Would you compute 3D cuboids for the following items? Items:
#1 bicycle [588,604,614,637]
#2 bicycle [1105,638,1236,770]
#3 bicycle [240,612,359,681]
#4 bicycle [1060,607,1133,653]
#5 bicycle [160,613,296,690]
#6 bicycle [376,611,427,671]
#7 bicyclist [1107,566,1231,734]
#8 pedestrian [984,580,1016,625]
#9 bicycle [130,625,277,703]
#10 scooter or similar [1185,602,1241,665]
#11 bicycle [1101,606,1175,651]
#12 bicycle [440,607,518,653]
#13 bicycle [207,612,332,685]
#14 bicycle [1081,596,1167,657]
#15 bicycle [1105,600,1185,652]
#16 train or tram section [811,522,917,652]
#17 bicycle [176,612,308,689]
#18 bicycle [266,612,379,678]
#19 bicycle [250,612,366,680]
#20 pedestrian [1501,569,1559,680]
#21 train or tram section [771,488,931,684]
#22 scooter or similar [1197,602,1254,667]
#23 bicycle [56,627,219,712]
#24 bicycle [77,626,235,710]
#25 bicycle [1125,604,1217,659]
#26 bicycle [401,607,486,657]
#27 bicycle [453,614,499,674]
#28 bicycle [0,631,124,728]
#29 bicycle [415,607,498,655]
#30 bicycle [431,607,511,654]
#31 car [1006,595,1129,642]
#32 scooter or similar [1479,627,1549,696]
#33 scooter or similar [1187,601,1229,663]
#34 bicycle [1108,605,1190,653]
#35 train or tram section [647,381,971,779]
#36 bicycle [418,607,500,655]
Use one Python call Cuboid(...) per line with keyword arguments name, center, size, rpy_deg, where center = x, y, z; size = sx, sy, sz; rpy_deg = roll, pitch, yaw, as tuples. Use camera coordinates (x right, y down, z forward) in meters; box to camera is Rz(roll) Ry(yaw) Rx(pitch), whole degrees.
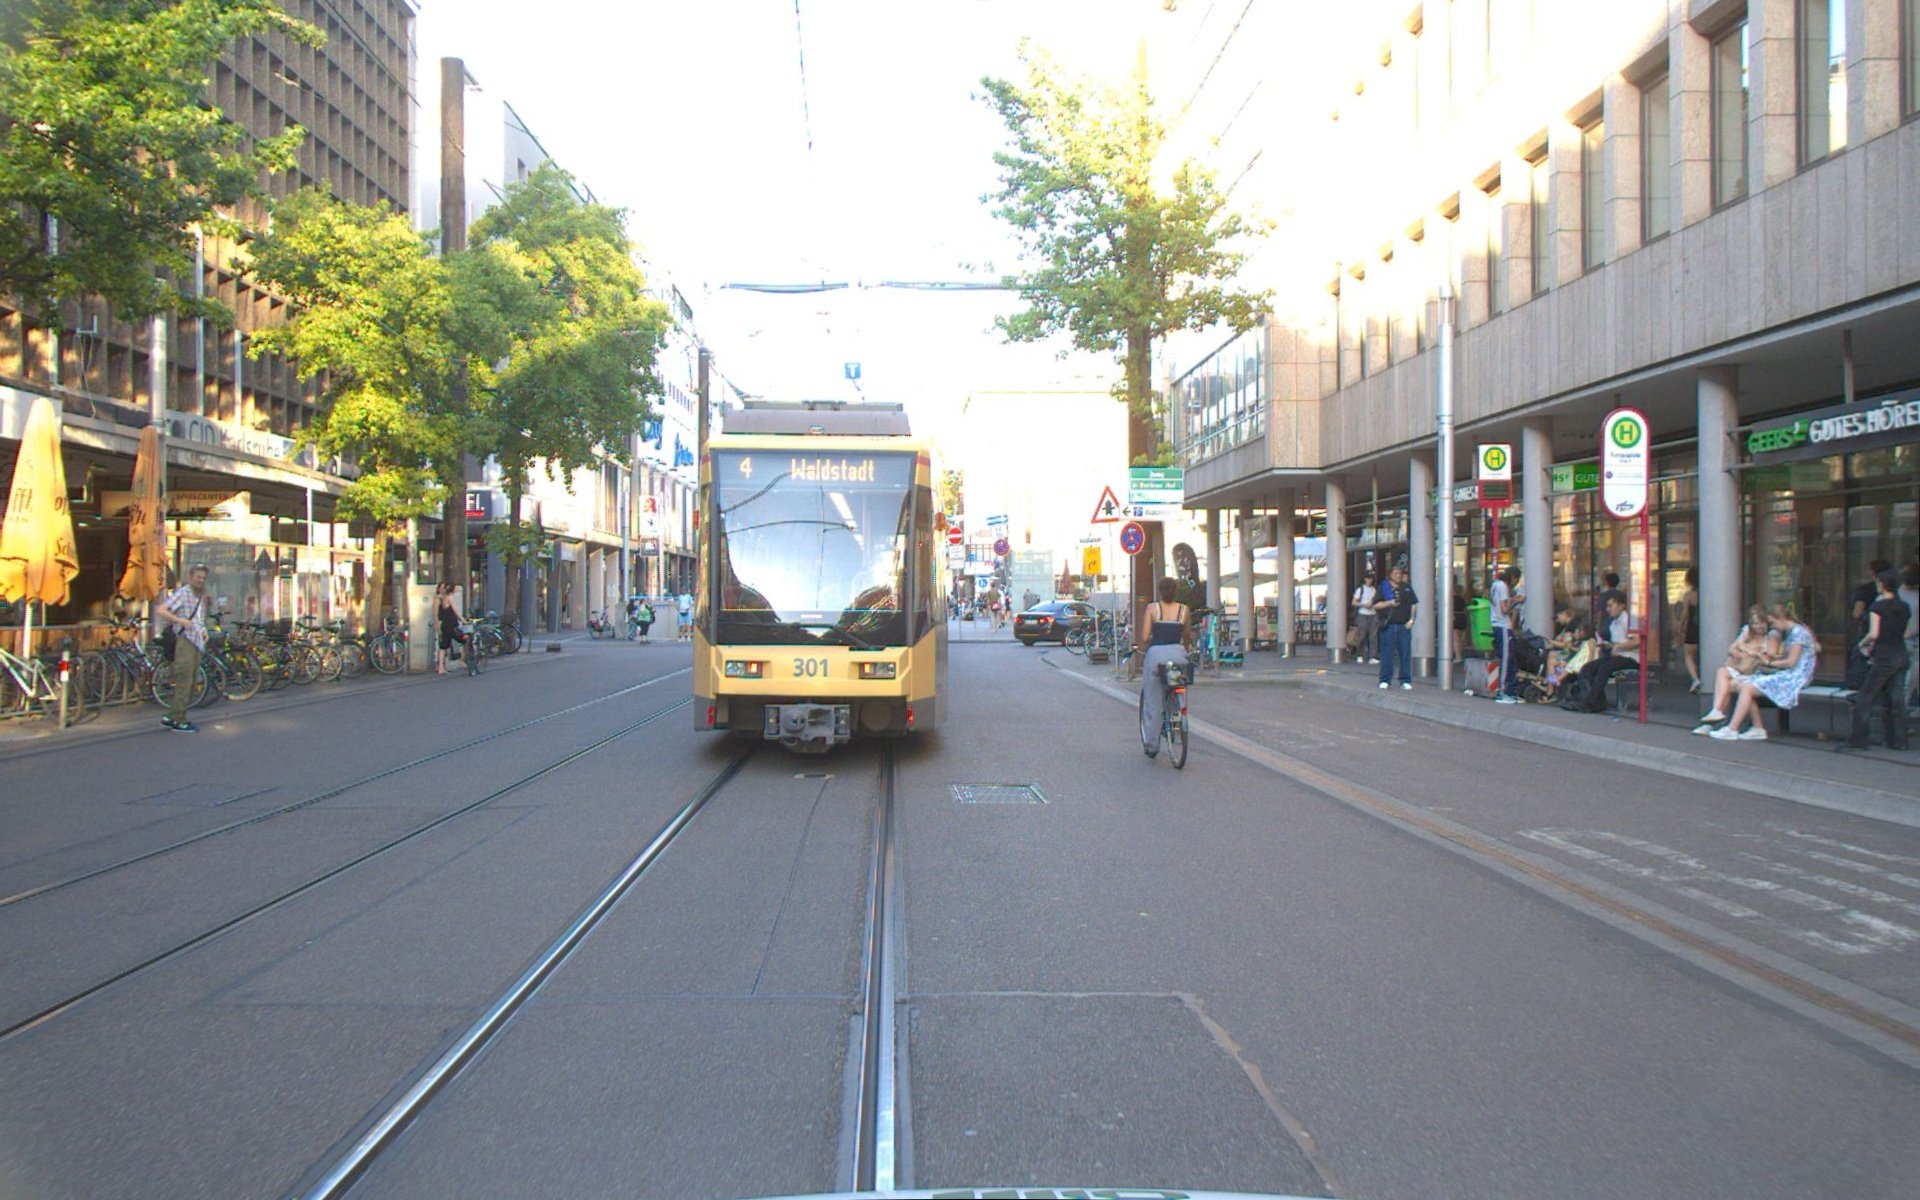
Cuboid(name="bicycle", center=(-13.330, 0.751, 61.446), size=(0.488, 1.127, 1.801), rpy_deg=(0, 1, 3))
Cuboid(name="bicycle", center=(1.952, 0.947, 15.683), size=(0.799, 1.092, 2.111), rpy_deg=(1, 0, -5))
Cuboid(name="bicycle", center=(-10.995, 0.772, 27.580), size=(1.738, 1.090, 0.488), rpy_deg=(2, 0, -8))
Cuboid(name="bicycle", center=(3.590, 0.782, 43.553), size=(1.816, 1.128, 0.666), rpy_deg=(-2, 0, -5))
Cuboid(name="bicycle", center=(-10.851, 0.762, 24.546), size=(1.738, 1.090, 0.488), rpy_deg=(2, 0, -8))
Cuboid(name="bicycle", center=(-10.488, 0.752, 31.095), size=(0.478, 1.063, 1.776), rpy_deg=(0, 1, -5))
Cuboid(name="bicyclist", center=(1.966, 0.464, 15.669), size=(0.977, 1.528, 0.856), rpy_deg=(1, 0, -5))
Cuboid(name="pedestrian", center=(1.717, 0.115, 70.784), size=(1.002, 1.896, 1.033), rpy_deg=(1, -1, -28))
Cuboid(name="bicycle", center=(-10.328, 0.873, 22.604), size=(1.738, 1.007, 0.489), rpy_deg=(1, 1, -8))
Cuboid(name="scooter or similar", center=(5.342, 0.691, 34.878), size=(1.176, 1.273, 0.389), rpy_deg=(-2, 1, -32))
Cuboid(name="bicycle", center=(4.702, 0.752, 43.738), size=(1.816, 1.128, 0.666), rpy_deg=(-2, 0, -5))
Cuboid(name="bicycle", center=(-11.707, 0.729, 40.260), size=(1.736, 1.063, 0.489), rpy_deg=(1, 0, -2))
Cuboid(name="bicycle", center=(-10.984, 0.767, 26.360), size=(1.738, 1.090, 0.488), rpy_deg=(2, 0, -8))
Cuboid(name="bicycle", center=(3.882, 0.625, 39.280), size=(1.879, 1.356, 0.724), rpy_deg=(-2, 0, -7))
Cuboid(name="bicycle", center=(4.709, 0.652, 42.149), size=(1.879, 1.243, 0.762), rpy_deg=(-2, 0, -7))
Cuboid(name="train or tram section", center=(-2.790, -0.373, 50.294), size=(2.744, 3.377, 14.501), rpy_deg=(0, 0, -2))
Cuboid(name="bicycle", center=(-10.891, 0.764, 25.122), size=(1.738, 1.090, 0.488), rpy_deg=(2, 0, -8))
Cuboid(name="bicycle", center=(-11.082, 0.775, 28.775), size=(1.738, 1.090, 0.488), rpy_deg=(2, 0, -8))
Cuboid(name="bicycle", center=(-11.068, 0.773, 28.122), size=(1.738, 1.090, 0.488), rpy_deg=(2, 0, -8))
Cuboid(name="pedestrian", center=(8.870, 0.381, 25.751), size=(0.635, 1.690, 0.650), rpy_deg=(-1, 0, -2))
Cuboid(name="train or tram section", center=(-2.184, -0.293, 35.834), size=(2.744, 3.377, 14.501), rpy_deg=(0, 0, -2))
Cuboid(name="scooter or similar", center=(5.472, 0.702, 34.028), size=(1.102, 1.273, 0.491), rpy_deg=(-2, 1, -33))
Cuboid(name="bicycle", center=(-10.257, 0.866, 20.666), size=(1.738, 1.007, 0.489), rpy_deg=(1, 1, -8))
Cuboid(name="bicycle", center=(-10.284, 0.868, 21.193), size=(1.738, 1.007, 0.489), rpy_deg=(1, 1, -8))
Cuboid(name="bicycle", center=(4.885, 0.718, 38.397), size=(1.958, 1.175, 0.724), rpy_deg=(-2, 0, -7))
Cuboid(name="bicycle", center=(-11.618, 0.719, 37.229), size=(1.736, 1.063, 0.489), rpy_deg=(1, 0, -2))
Cuboid(name="bicycle", center=(-9.153, 0.820, 31.338), size=(0.478, 1.063, 1.776), rpy_deg=(0, 1, -5))
Cuboid(name="bicycle", center=(-10.153, 0.864, 18.246), size=(1.734, 0.983, 0.490), rpy_deg=(2, -1, 15))
Cuboid(name="bicycle", center=(-11.679, 0.723, 38.377), size=(1.736, 1.063, 0.489), rpy_deg=(1, 0, -2))
Cuboid(name="bicycle", center=(-11.722, 0.727, 39.679), size=(1.736, 1.063, 0.489), rpy_deg=(1, 0, -2))
Cuboid(name="car", center=(3.459, 0.600, 52.840), size=(4.022, 1.434, 1.746), rpy_deg=(1, -1, -45))
Cuboid(name="scooter or similar", center=(7.553, 0.833, 22.568), size=(0.815, 0.899, 0.687), rpy_deg=(1, 0, 12))
Cuboid(name="scooter or similar", center=(5.321, 0.680, 35.459), size=(0.385, 1.273, 1.187), rpy_deg=(-1, 1, 36))
Cuboid(name="bicycle", center=(4.733, 0.726, 41.403), size=(1.879, 1.096, 0.762), rpy_deg=(-2, 0, -7))
Cuboid(name="train or tram section", center=(-1.583, -0.217, 21.350), size=(2.744, 3.377, 14.501), rpy_deg=(0, 0, -2))
Cuboid(name="bicycle", center=(-11.685, 0.723, 38.619), size=(1.736, 1.063, 0.489), rpy_deg=(1, 0, -2))
